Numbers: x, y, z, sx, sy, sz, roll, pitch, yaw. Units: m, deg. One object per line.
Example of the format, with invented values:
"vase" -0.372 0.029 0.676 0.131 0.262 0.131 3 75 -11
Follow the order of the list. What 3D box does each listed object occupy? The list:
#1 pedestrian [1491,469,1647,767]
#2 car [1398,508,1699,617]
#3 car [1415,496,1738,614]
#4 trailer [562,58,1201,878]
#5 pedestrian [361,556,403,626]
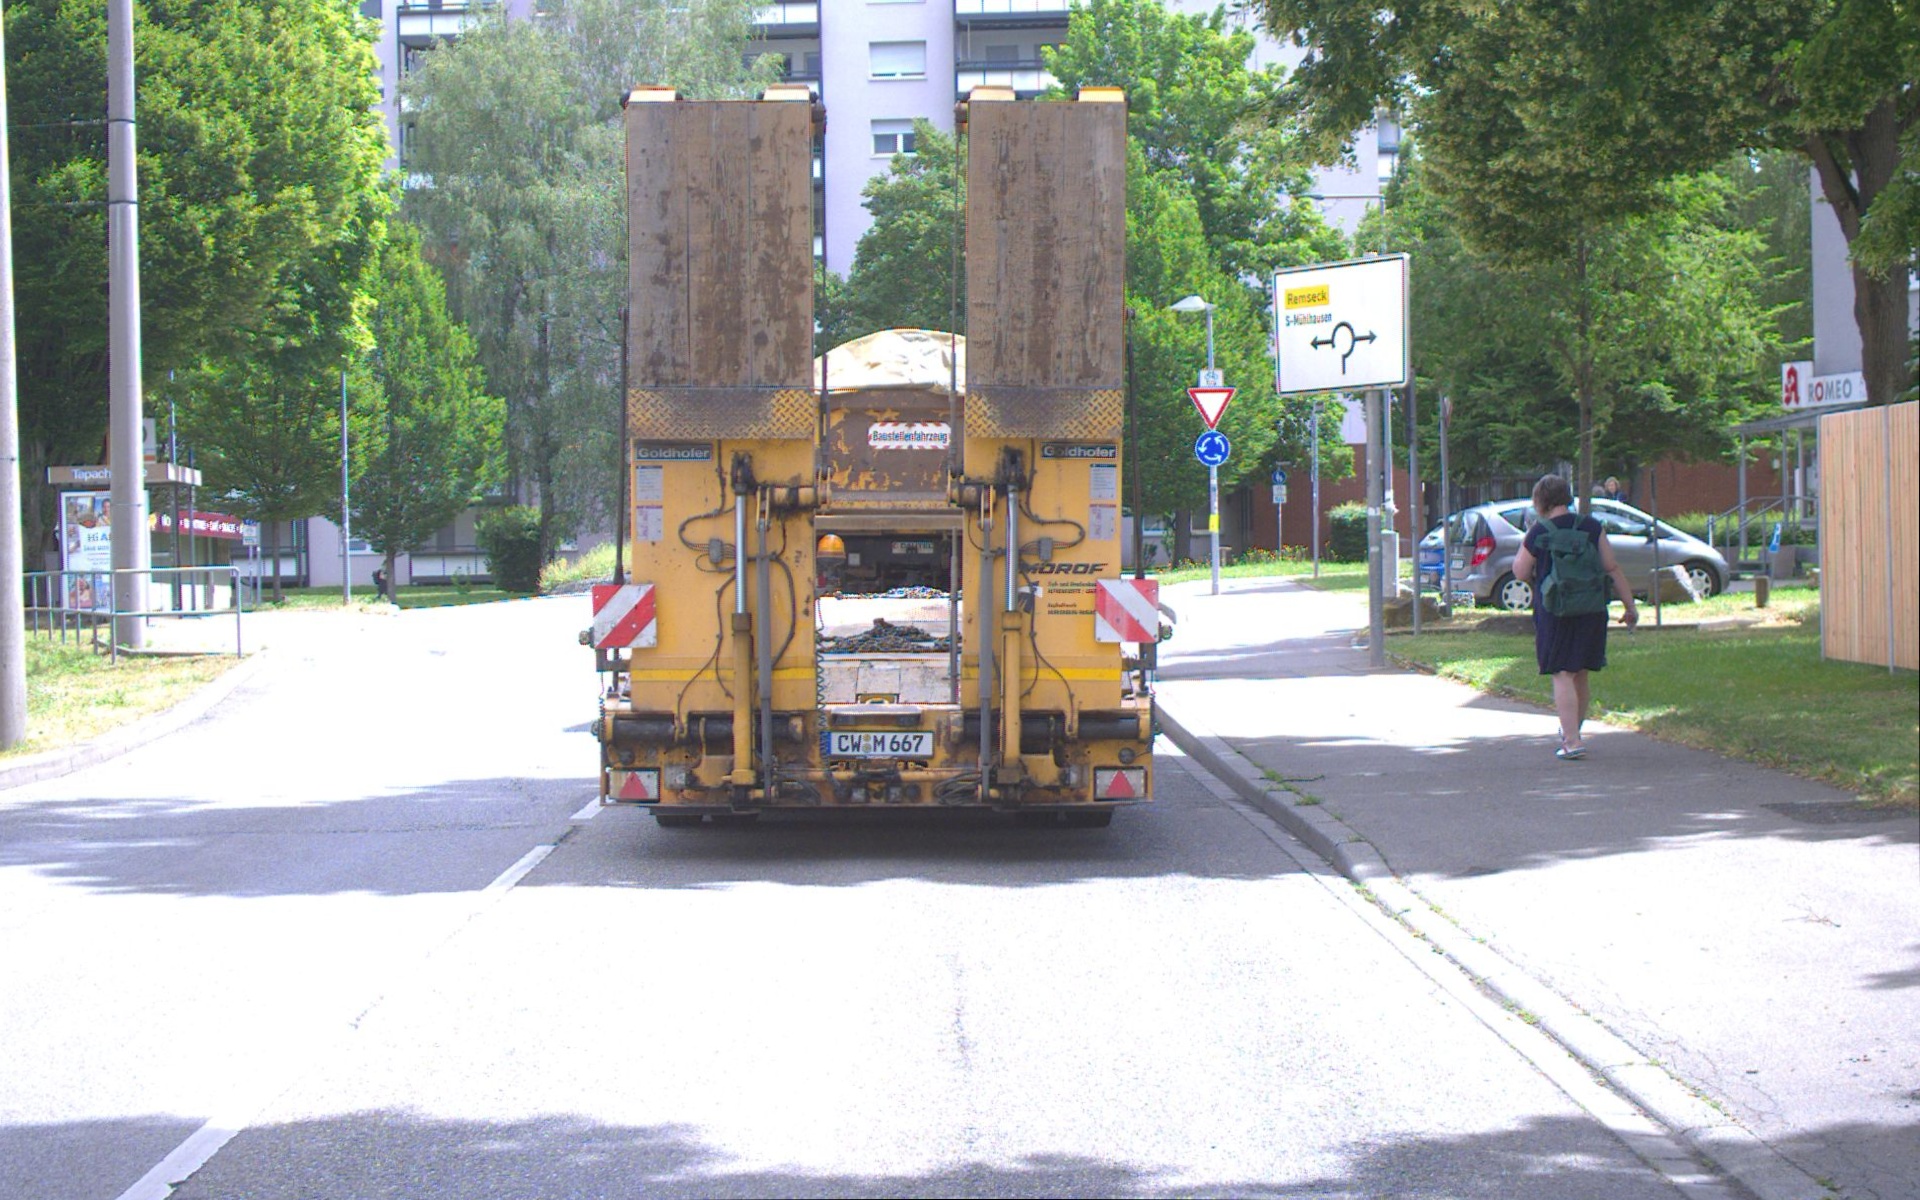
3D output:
"pedestrian" 3.584 0.092 20.290 0.718 1.700 0.766 -2 1 -1
"car" 8.663 -0.553 50.721 3.986 1.556 1.760 0 1 -12
"car" 8.443 -0.615 47.191 3.986 1.556 1.760 0 1 -12
"trailer" -0.803 -0.698 21.512 2.827 3.633 12.356 0 1 -4
"pedestrian" -16.788 -0.254 99.807 0.907 2.007 0.962 0 1 -31
